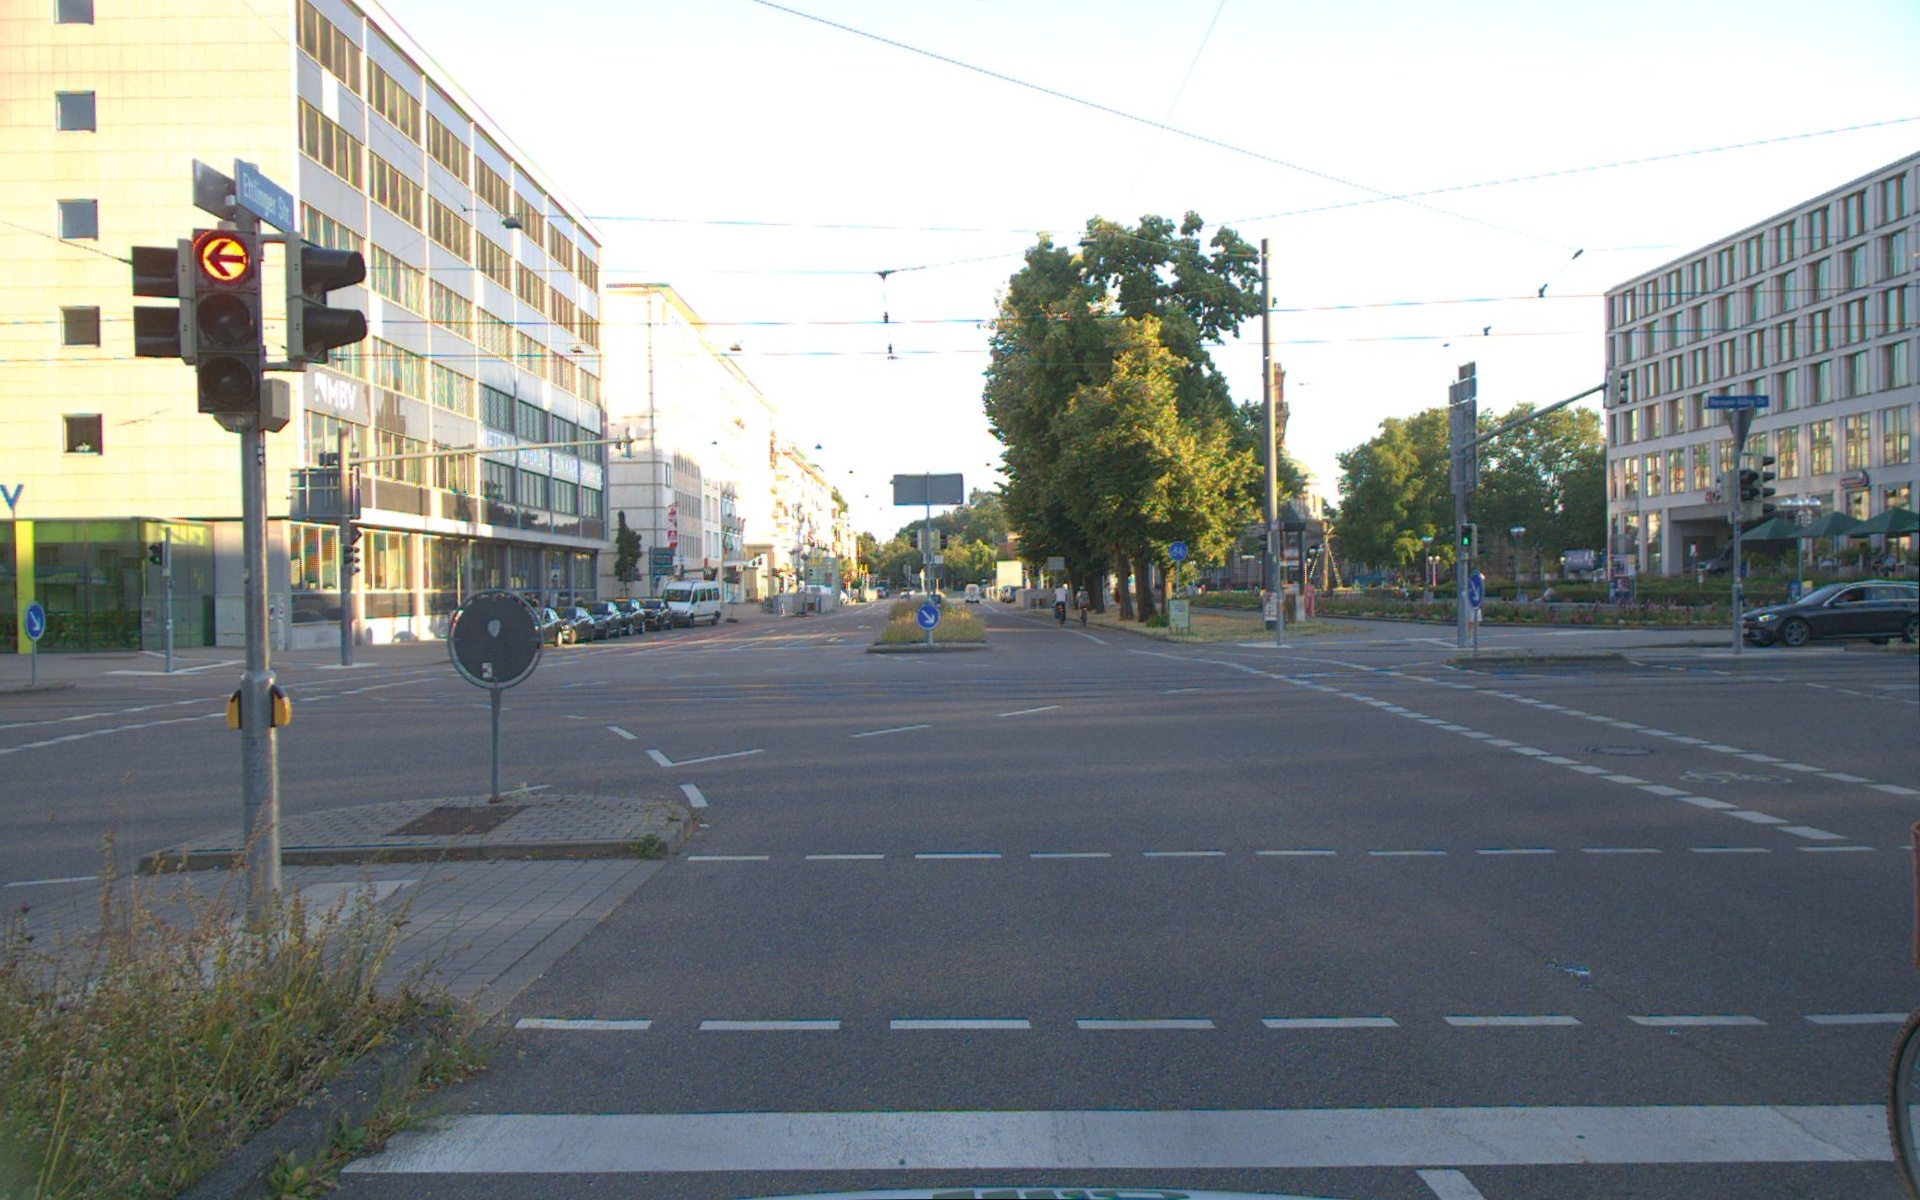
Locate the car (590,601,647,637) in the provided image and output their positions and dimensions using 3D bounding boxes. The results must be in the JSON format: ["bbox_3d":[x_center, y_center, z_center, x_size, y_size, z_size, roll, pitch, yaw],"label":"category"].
[{"bbox_3d":[-16.134,0.878,78.289,1.882,1.595,3.999,-1,0,-1],"label":"car"}]

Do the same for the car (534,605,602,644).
[{"bbox_3d":[-16.117,0.989,68.171,1.882,1.489,3.999,-1,0,-1],"label":"car"}]

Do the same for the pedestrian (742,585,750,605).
[{"bbox_3d":[-21.331,-0.489,164.774,0.666,2.049,0.545,-1,0,-1],"label":"pedestrian"}]

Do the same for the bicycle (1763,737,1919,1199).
[{"bbox_3d":[2.184,0.902,2.853,0.599,1.152,2.004,1,0,-1],"label":"bicycle"}]

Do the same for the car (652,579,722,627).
[{"bbox_3d":[-14.942,0.141,90.996,1.958,2.521,5.873,-1,0,9],"label":"car"}]

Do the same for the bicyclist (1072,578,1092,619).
[{"bbox_3d":[5.139,-0.074,69.876,0.731,1.720,0.799,-1,0,-1],"label":"bicyclist"}]

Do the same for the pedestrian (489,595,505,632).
[{"bbox_3d":[-21.365,0.632,76.291,0.540,1.708,0.500,-1,0,-1],"label":"pedestrian"}]

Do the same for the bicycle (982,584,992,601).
[{"bbox_3d":[3.393,-0.975,207.732,0.981,2.049,4.002,-1,0,4],"label":"bicycle"}]

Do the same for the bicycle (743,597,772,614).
[{"bbox_3d":[-15.721,0.412,128.632,2.161,1.258,0.839,-1,0,-2],"label":"bicycle"}]

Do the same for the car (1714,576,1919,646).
[{"bbox_3d":[21.047,0.253,39.948,4.724,1.542,2.000,-1,0,1],"label":"car"}]

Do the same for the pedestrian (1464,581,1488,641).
[{"bbox_3d":[13.638,0.282,43.731,0.480,1.566,0.408,-1,0,-1],"label":"pedestrian"}]

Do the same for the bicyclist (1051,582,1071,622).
[{"bbox_3d":[4.261,0.084,69.708,0.731,1.692,0.873,-1,0,-1],"label":"bicyclist"}]

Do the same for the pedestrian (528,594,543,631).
[{"bbox_3d":[-19.579,0.562,76.285,0.540,1.708,0.500,-1,0,-1],"label":"pedestrian"}]

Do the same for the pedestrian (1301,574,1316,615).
[{"bbox_3d":[14.469,-0.247,68.679,0.451,1.685,0.566,-1,0,-1],"label":"pedestrian"}]

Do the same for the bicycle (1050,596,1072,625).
[{"bbox_3d":[4.287,0.444,70.402,0.731,1.164,2.505,-1,0,-1],"label":"bicycle"}]

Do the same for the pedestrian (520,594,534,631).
[{"bbox_3d":[-20.156,0.584,76.920,0.490,1.708,0.500,-1,0,-1],"label":"pedestrian"}]

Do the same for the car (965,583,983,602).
[{"bbox_3d":[1.220,-0.684,147.116,1.379,1.670,3.998,-1,0,-2],"label":"car"}]

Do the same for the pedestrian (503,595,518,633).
[{"bbox_3d":[-20.763,0.643,76.404,0.540,1.708,0.500,-1,0,-1],"label":"pedestrian"}]

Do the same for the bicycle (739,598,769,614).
[{"bbox_3d":[-15.590,0.463,125.208,2.161,1.131,0.618,-1,0,-3],"label":"bicycle"}]

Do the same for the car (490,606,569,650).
[{"bbox_3d":[-16.008,1.029,61.676,1.882,1.489,4.102,-1,0,-1],"label":"car"}]

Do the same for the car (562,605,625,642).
[{"bbox_3d":[-16.138,1.009,72.985,1.882,1.489,3.999,-1,0,-1],"label":"car"}]

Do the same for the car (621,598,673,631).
[{"bbox_3d":[-15.960,0.730,84.520,1.882,1.595,3.999,-1,0,-1],"label":"car"}]

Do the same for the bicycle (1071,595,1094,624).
[{"bbox_3d":[5.153,0.385,69.863,0.731,1.164,2.505,-1,0,-1],"label":"bicycle"}]
